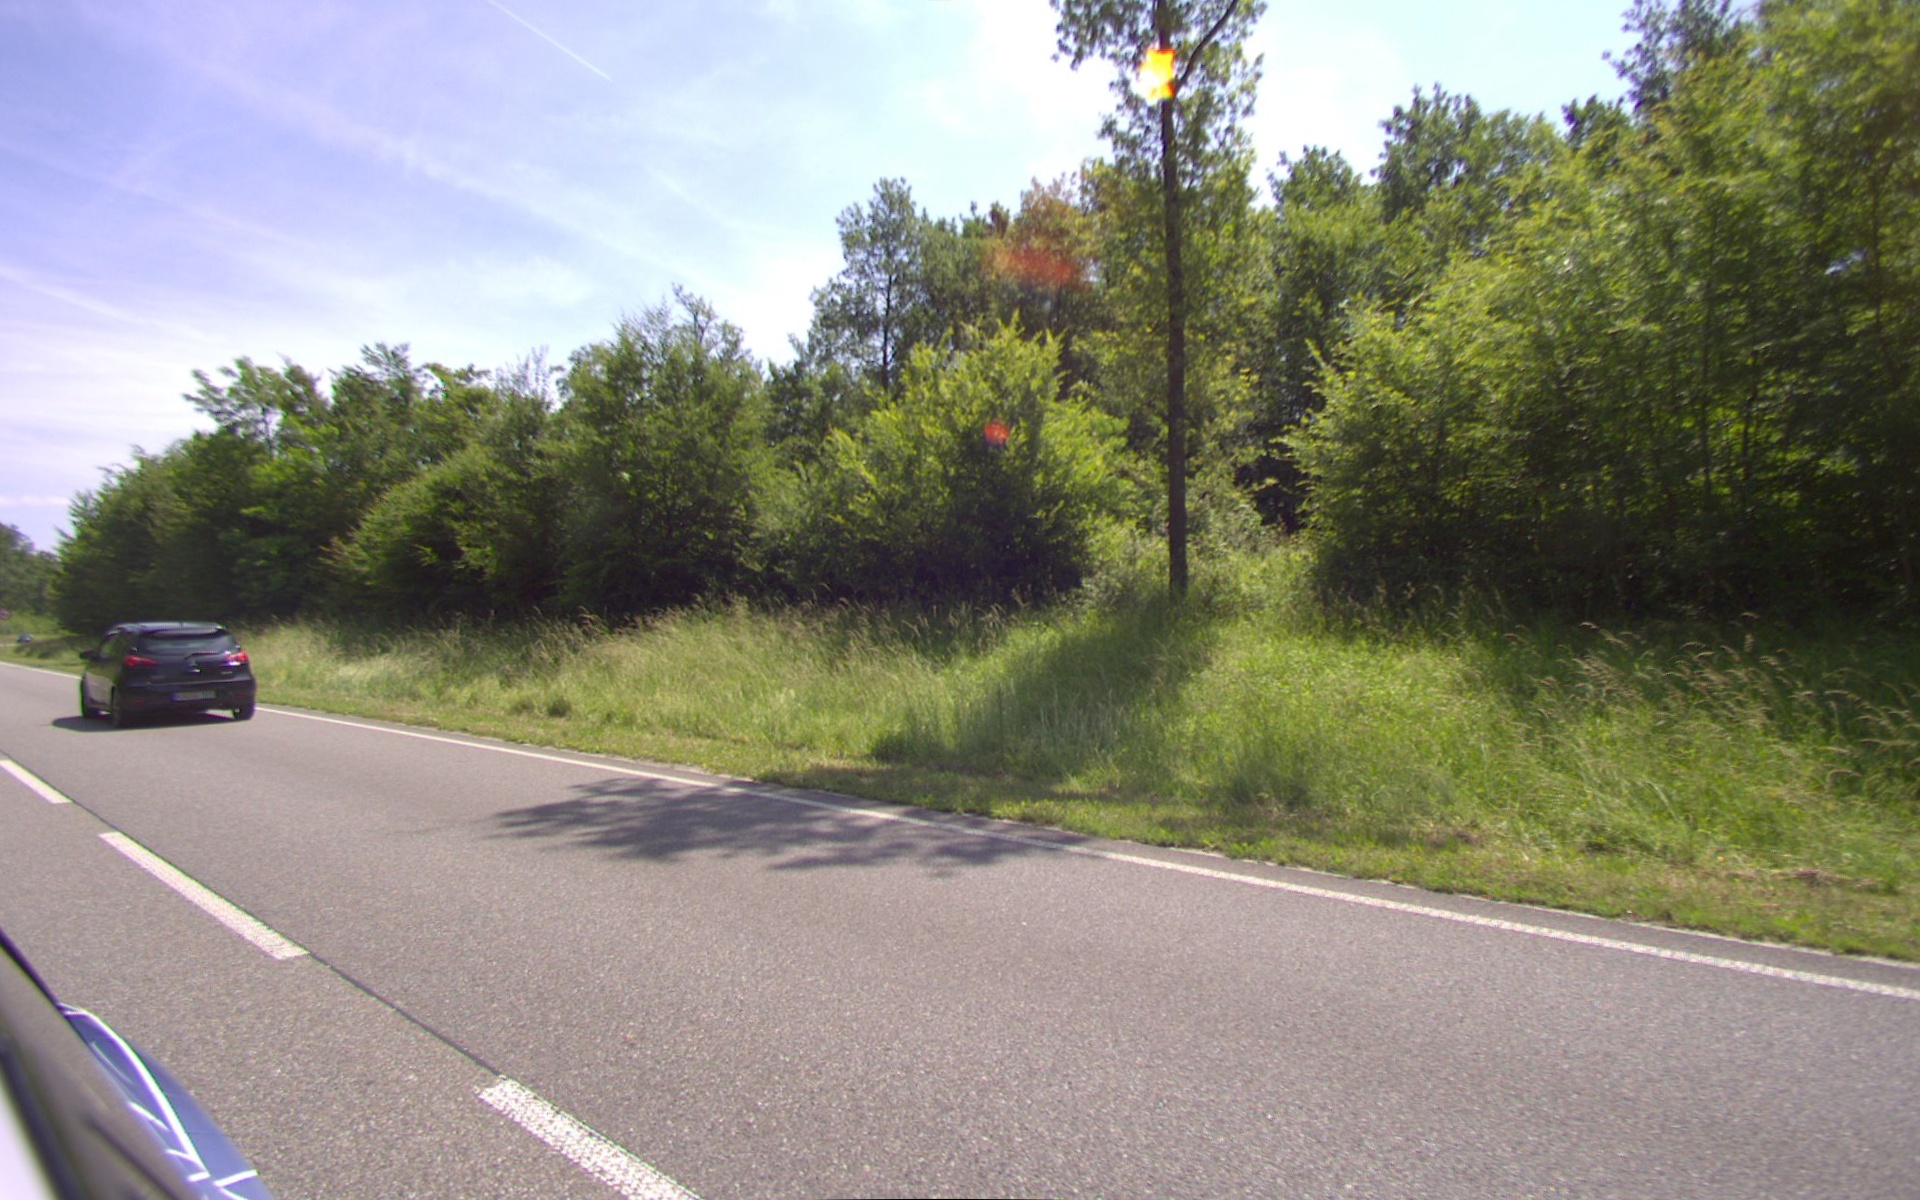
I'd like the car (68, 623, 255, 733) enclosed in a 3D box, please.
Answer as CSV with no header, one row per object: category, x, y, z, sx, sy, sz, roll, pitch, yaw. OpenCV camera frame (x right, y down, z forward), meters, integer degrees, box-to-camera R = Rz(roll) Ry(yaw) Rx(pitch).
car,-12.519,1.127,15.799,3.803,1.506,1.643,-2,-2,41
